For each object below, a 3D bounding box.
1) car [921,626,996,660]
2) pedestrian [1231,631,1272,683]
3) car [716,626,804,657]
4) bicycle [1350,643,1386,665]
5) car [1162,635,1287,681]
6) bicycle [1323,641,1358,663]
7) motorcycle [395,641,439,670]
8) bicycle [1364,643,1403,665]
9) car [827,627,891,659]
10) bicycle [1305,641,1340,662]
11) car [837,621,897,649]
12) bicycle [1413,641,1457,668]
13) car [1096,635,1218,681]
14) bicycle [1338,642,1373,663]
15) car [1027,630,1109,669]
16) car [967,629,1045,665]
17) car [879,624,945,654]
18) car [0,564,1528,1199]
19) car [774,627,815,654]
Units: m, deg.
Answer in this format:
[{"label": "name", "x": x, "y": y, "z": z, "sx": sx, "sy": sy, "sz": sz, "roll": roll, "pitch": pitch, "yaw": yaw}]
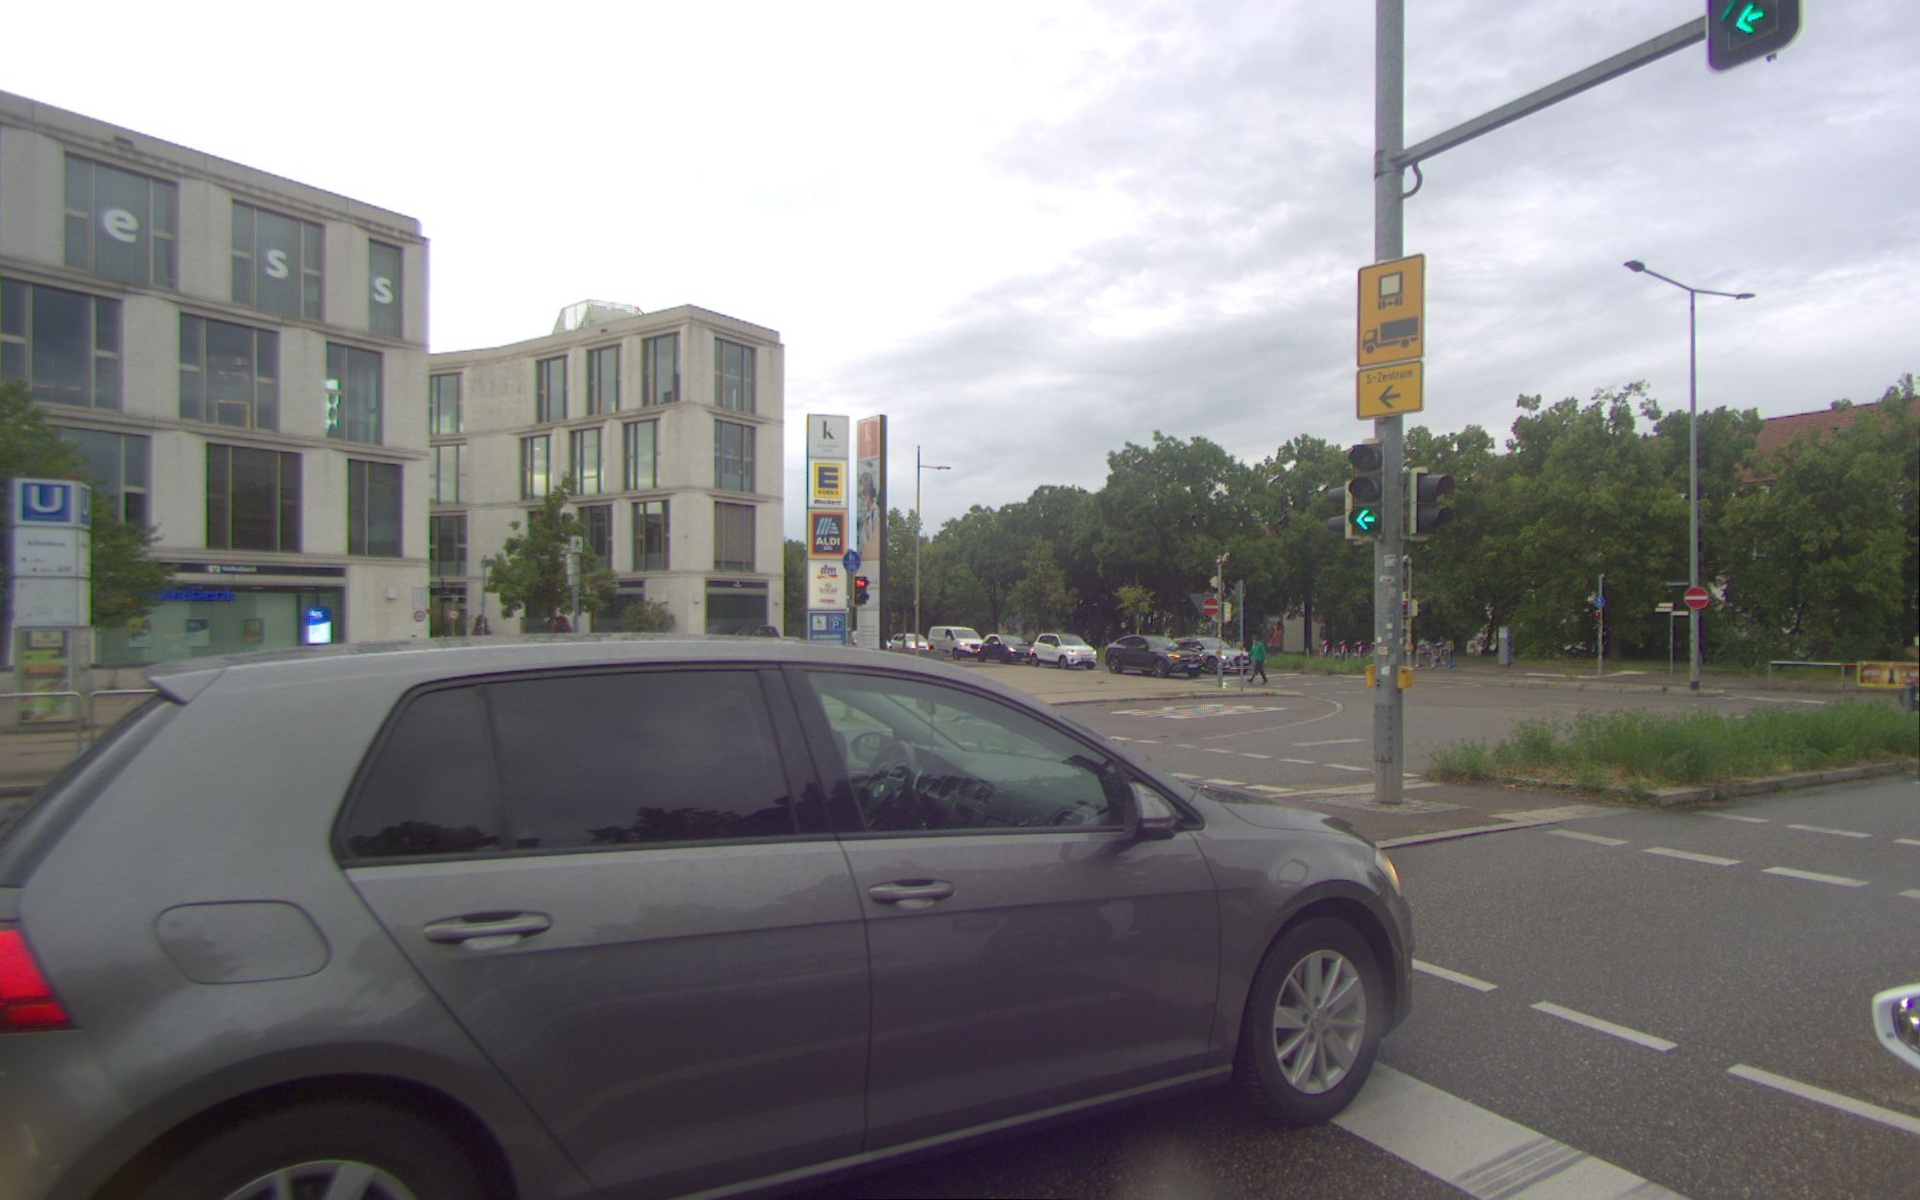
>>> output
[{"label": "car", "x": -0.139, "y": 2.324, "z": 54.947, "sx": 1.976, "sy": 1.615, "sz": 4.856, "roll": 2, "pitch": -1, "yaw": -29}, {"label": "pedestrian", "x": 10.027, "y": 1.952, "z": 34.581, "sx": 0.932, "sy": 1.750, "sz": 0.921, "roll": 2, "pitch": 0, "yaw": -22}, {"label": "car", "x": -9.868, "y": 2.052, "z": 49.882, "sx": 1.968, "sy": 1.483, "sz": 3.985, "roll": 0, "pitch": -2, "yaw": 37}, {"label": "bicycle", "x": 20.994, "y": 2.766, "z": 51.667, "sx": 1.959, "sy": 1.085, "sz": 0.649, "roll": 2, "pitch": -1, "yaw": -30}, {"label": "car", "x": 10.619, "y": 2.295, "z": 40.670, "sx": 1.976, "sy": 1.568, "sz": 5.001, "roll": 2, "pitch": -1, "yaw": -29}, {"label": "bicycle", "x": 20.263, "y": 2.773, "z": 53.529, "sx": 1.959, "sy": 1.085, "sz": 0.649, "roll": 2, "pitch": -1, "yaw": -30}, {"label": "motorcycle", "x": -14.876, "y": 1.513, "z": 27.517, "sx": 1.081, "sy": 0.750, "sz": 0.522, "roll": 1, "pitch": -1, "yaw": 29}, {"label": "bicycle", "x": 21.563, "y": 2.754, "z": 51.141, "sx": 1.959, "sy": 1.085, "sz": 0.798, "roll": 2, "pitch": -1, "yaw": -30}, {"label": "car", "x": -5.991, "y": 2.517, "z": 59.251, "sx": 1.976, "sy": 1.615, "sz": 4.856, "roll": 2, "pitch": -1, "yaw": -29}, {"label": "bicycle", "x": 19.594, "y": 2.791, "z": 54.260, "sx": 1.959, "sy": 1.085, "sz": 0.649, "roll": 2, "pitch": -1, "yaw": -30}, {"label": "car", "x": -6.107, "y": 2.267, "z": 65.668, "sx": 1.977, "sy": 1.615, "sz": 4.853, "roll": 2, "pitch": -1, "yaw": -31}, {"label": "bicycle", "x": 23.075, "y": 2.631, "z": 48.750, "sx": 1.959, "sy": 1.266, "sz": 0.986, "roll": 2, "pitch": -1, "yaw": -30}, {"label": "car", "x": 7.692, "y": 2.241, "z": 39.764, "sx": 1.976, "sy": 1.520, "sz": 5.001, "roll": 2, "pitch": -1, "yaw": -29}, {"label": "bicycle", "x": 20.695, "y": 2.755, "z": 52.528, "sx": 1.959, "sy": 1.085, "sz": 0.649, "roll": 2, "pitch": -1, "yaw": -30}, {"label": "car", "x": 4.866, "y": 2.224, "z": 45.557, "sx": 1.976, "sy": 1.615, "sz": 3.536, "roll": 2, "pitch": -1, "yaw": -29}, {"label": "car", "x": 2.276, "y": 2.344, "z": 50.420, "sx": 1.976, "sy": 1.615, "sz": 4.185, "roll": 2, "pitch": -1, "yaw": -29}, {"label": "car", "x": -2.917, "y": 2.298, "z": 59.941, "sx": 1.976, "sy": 1.615, "sz": 4.856, "roll": 2, "pitch": -1, "yaw": -29}, {"label": "car", "x": -0.366, "y": 0.762, "z": 3.125, "sx": 4.325, "sy": 1.501, "sz": 1.807, "roll": 2, "pitch": -2, "yaw": -30}, {"label": "car", "x": -13.244, "y": 3.211, "z": 80.026, "sx": 1.976, "sy": 2.040, "sz": 3.970, "roll": 2, "pitch": -2, "yaw": -29}]
